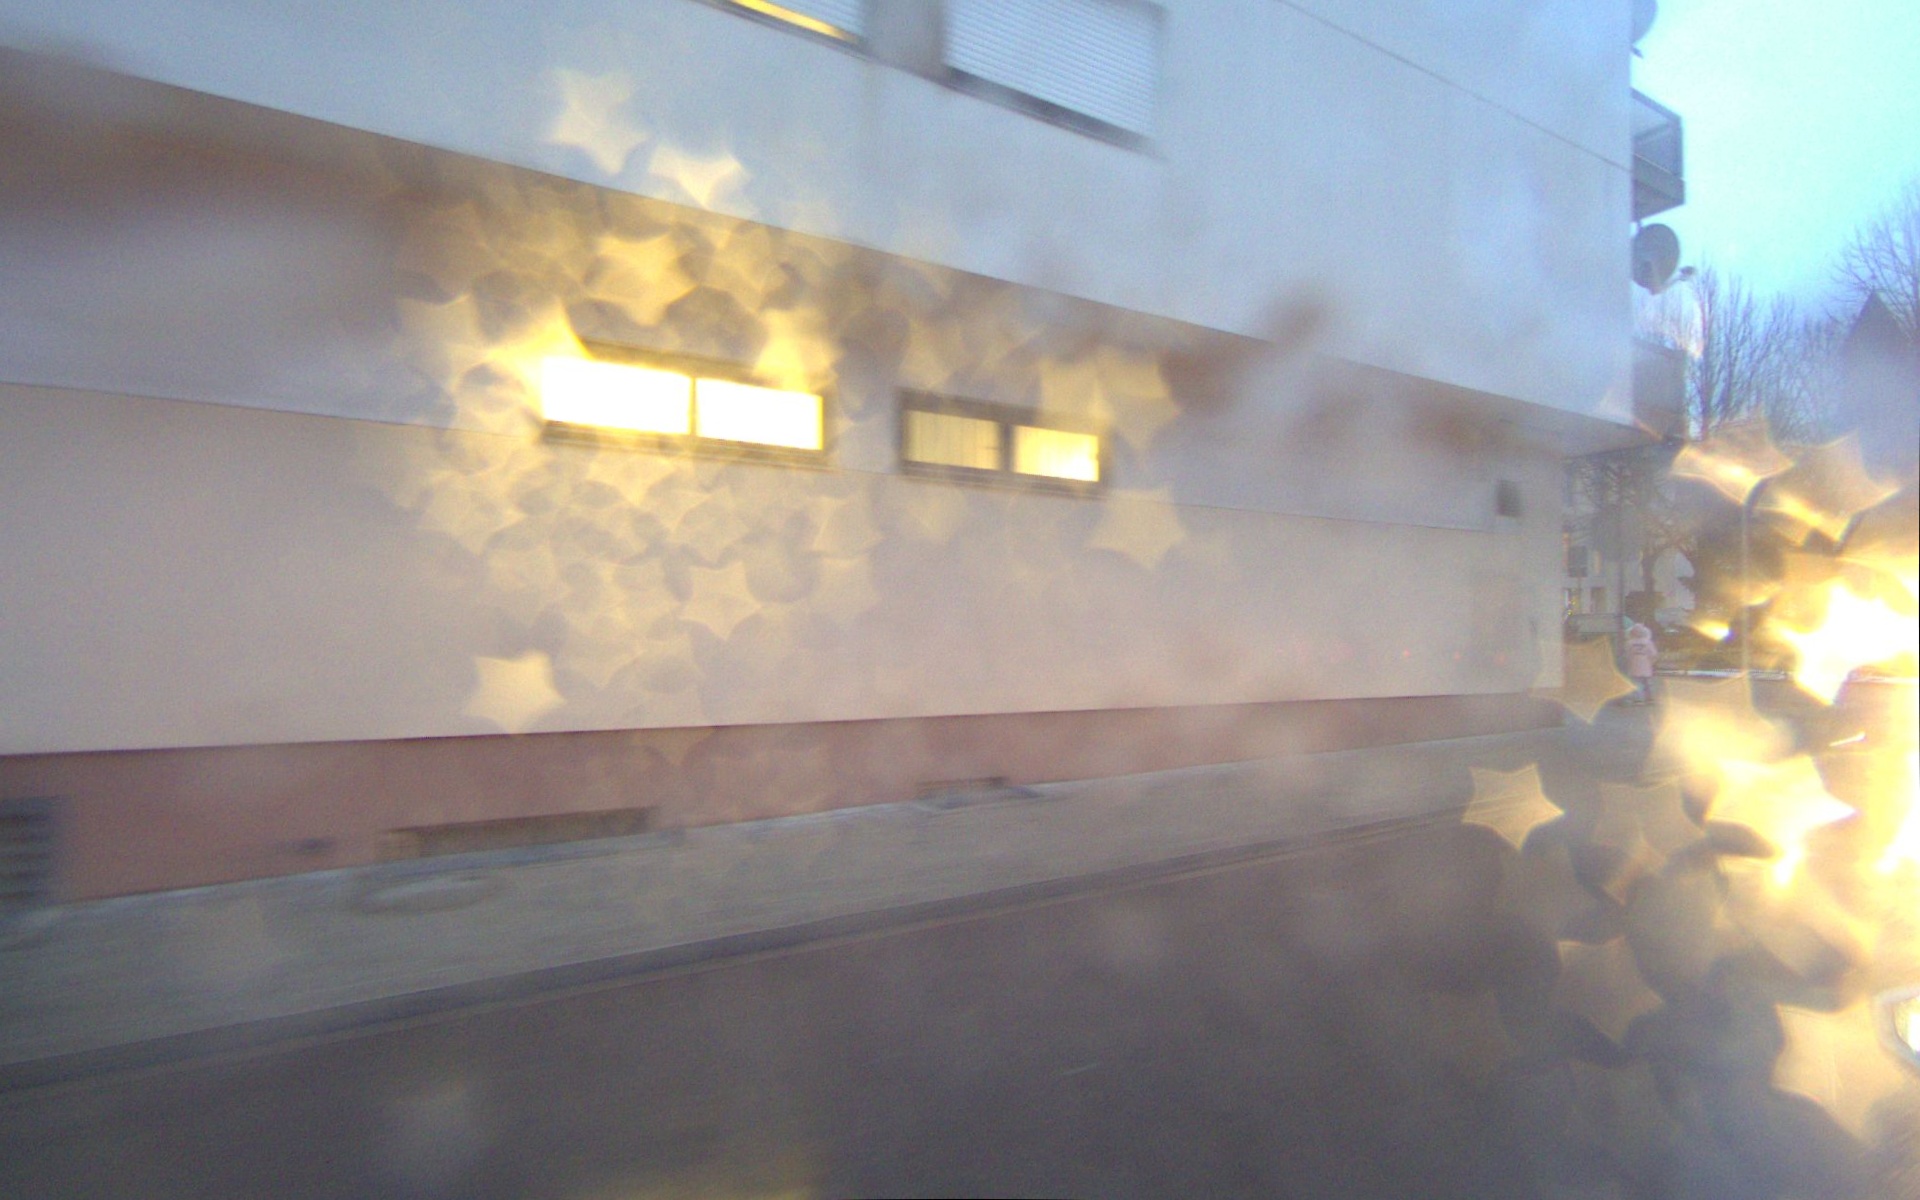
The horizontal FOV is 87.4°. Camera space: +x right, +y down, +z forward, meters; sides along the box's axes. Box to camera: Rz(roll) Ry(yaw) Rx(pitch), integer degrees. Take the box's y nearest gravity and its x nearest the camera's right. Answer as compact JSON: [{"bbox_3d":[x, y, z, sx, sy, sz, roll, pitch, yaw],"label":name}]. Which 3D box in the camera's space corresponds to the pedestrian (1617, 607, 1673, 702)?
[{"bbox_3d":[11.000,0.854,16.154,0.638,1.478,0.650,0,0,24],"label":"pedestrian"}]

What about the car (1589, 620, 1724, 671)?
[{"bbox_3d":[25.432,1.611,36.874,1.786,1.753,3.993,0,-1,-10],"label":"car"}]

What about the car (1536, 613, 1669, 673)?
[{"bbox_3d":[22.832,1.484,35.869,1.786,2.015,3.993,0,-1,-10],"label":"car"}]

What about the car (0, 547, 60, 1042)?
[{"bbox_3d":[-4.743,0.647,2.233,3.767,1.664,1.786,0,0,-30],"label":"car"}]

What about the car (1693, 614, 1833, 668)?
[{"bbox_3d":[30.543,1.509,38.370,1.786,1.936,3.993,0,-1,-10],"label":"car"}]
